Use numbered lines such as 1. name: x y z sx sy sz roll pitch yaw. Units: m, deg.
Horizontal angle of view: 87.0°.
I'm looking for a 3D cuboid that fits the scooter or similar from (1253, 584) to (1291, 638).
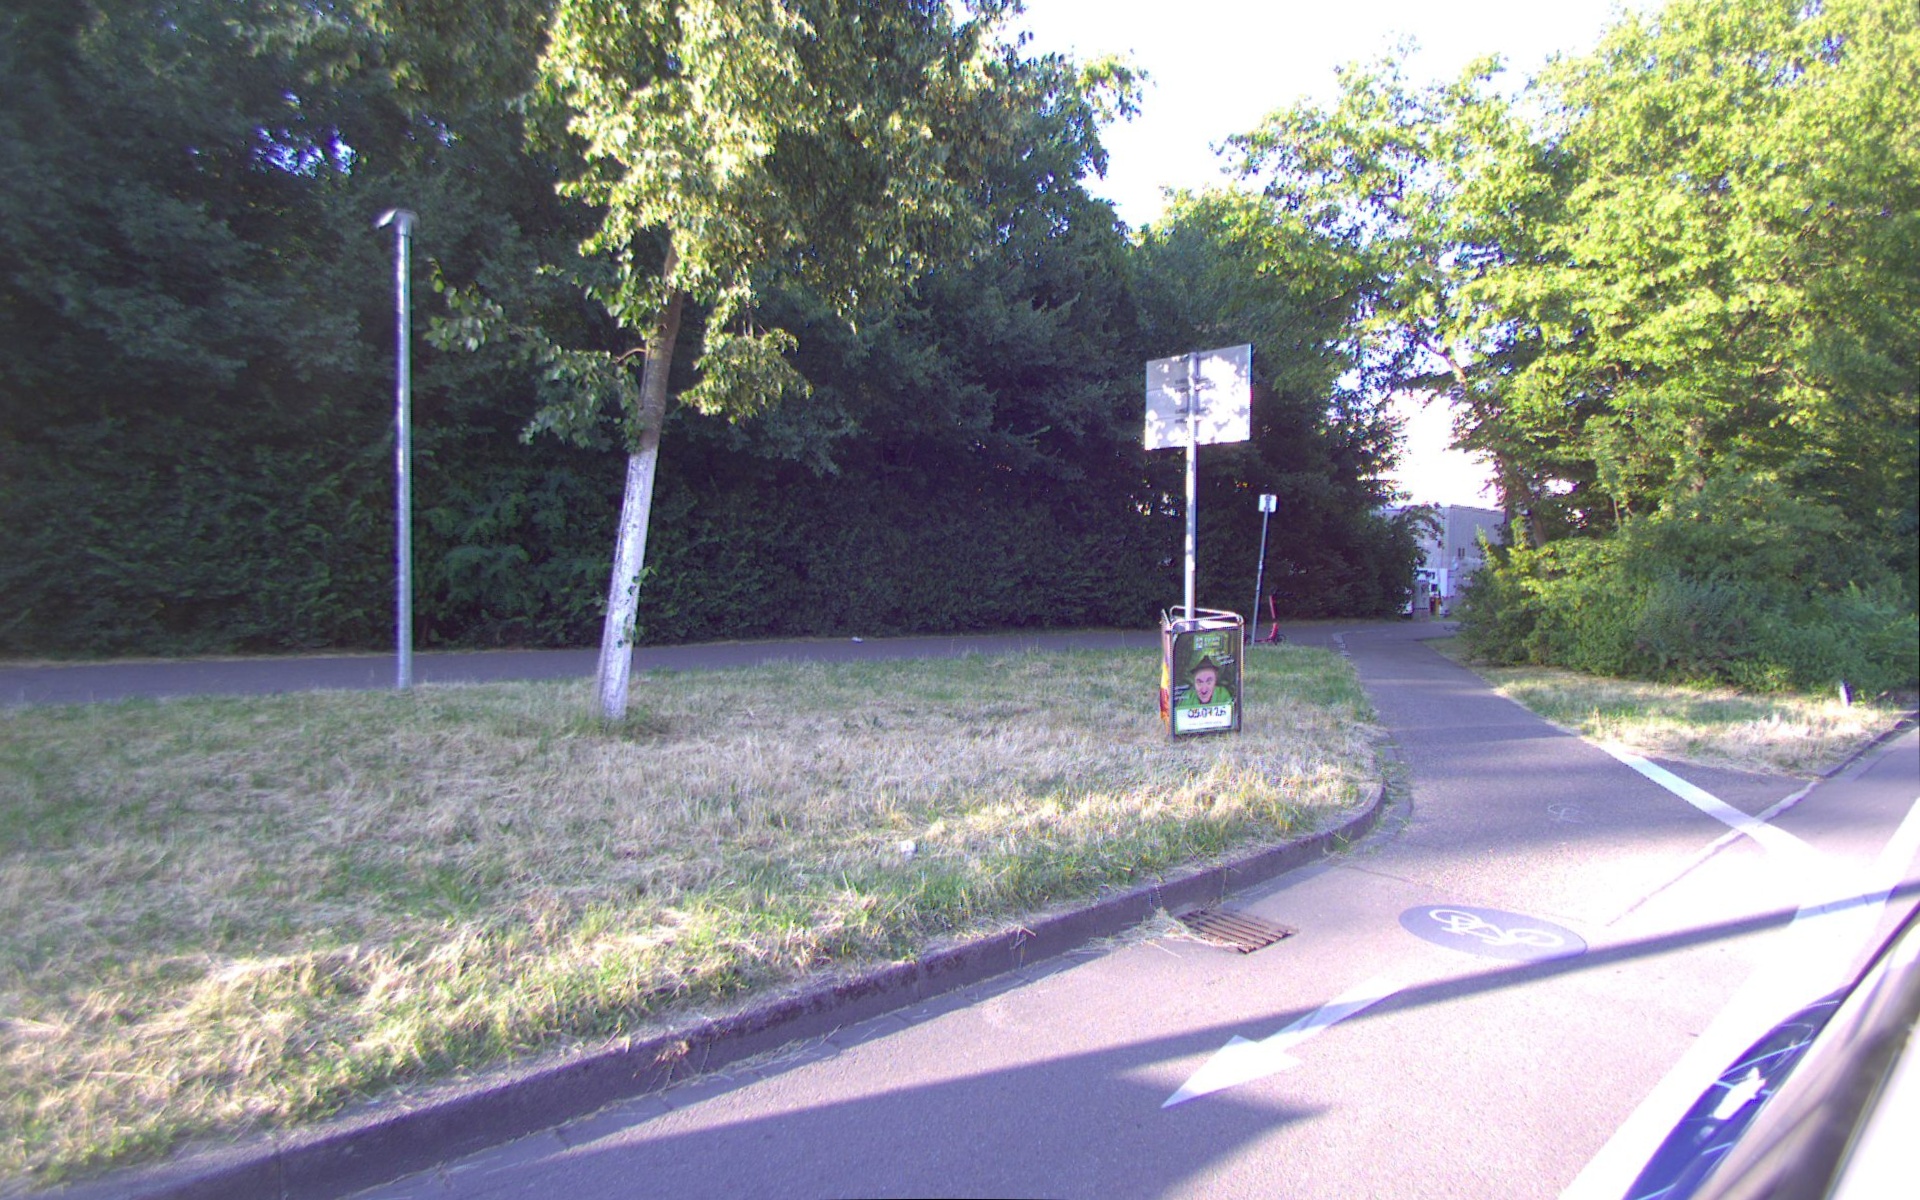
1. scooter or similar: 6.401 0.231 20.763 0.819 1.100 0.194 1 -1 -26
